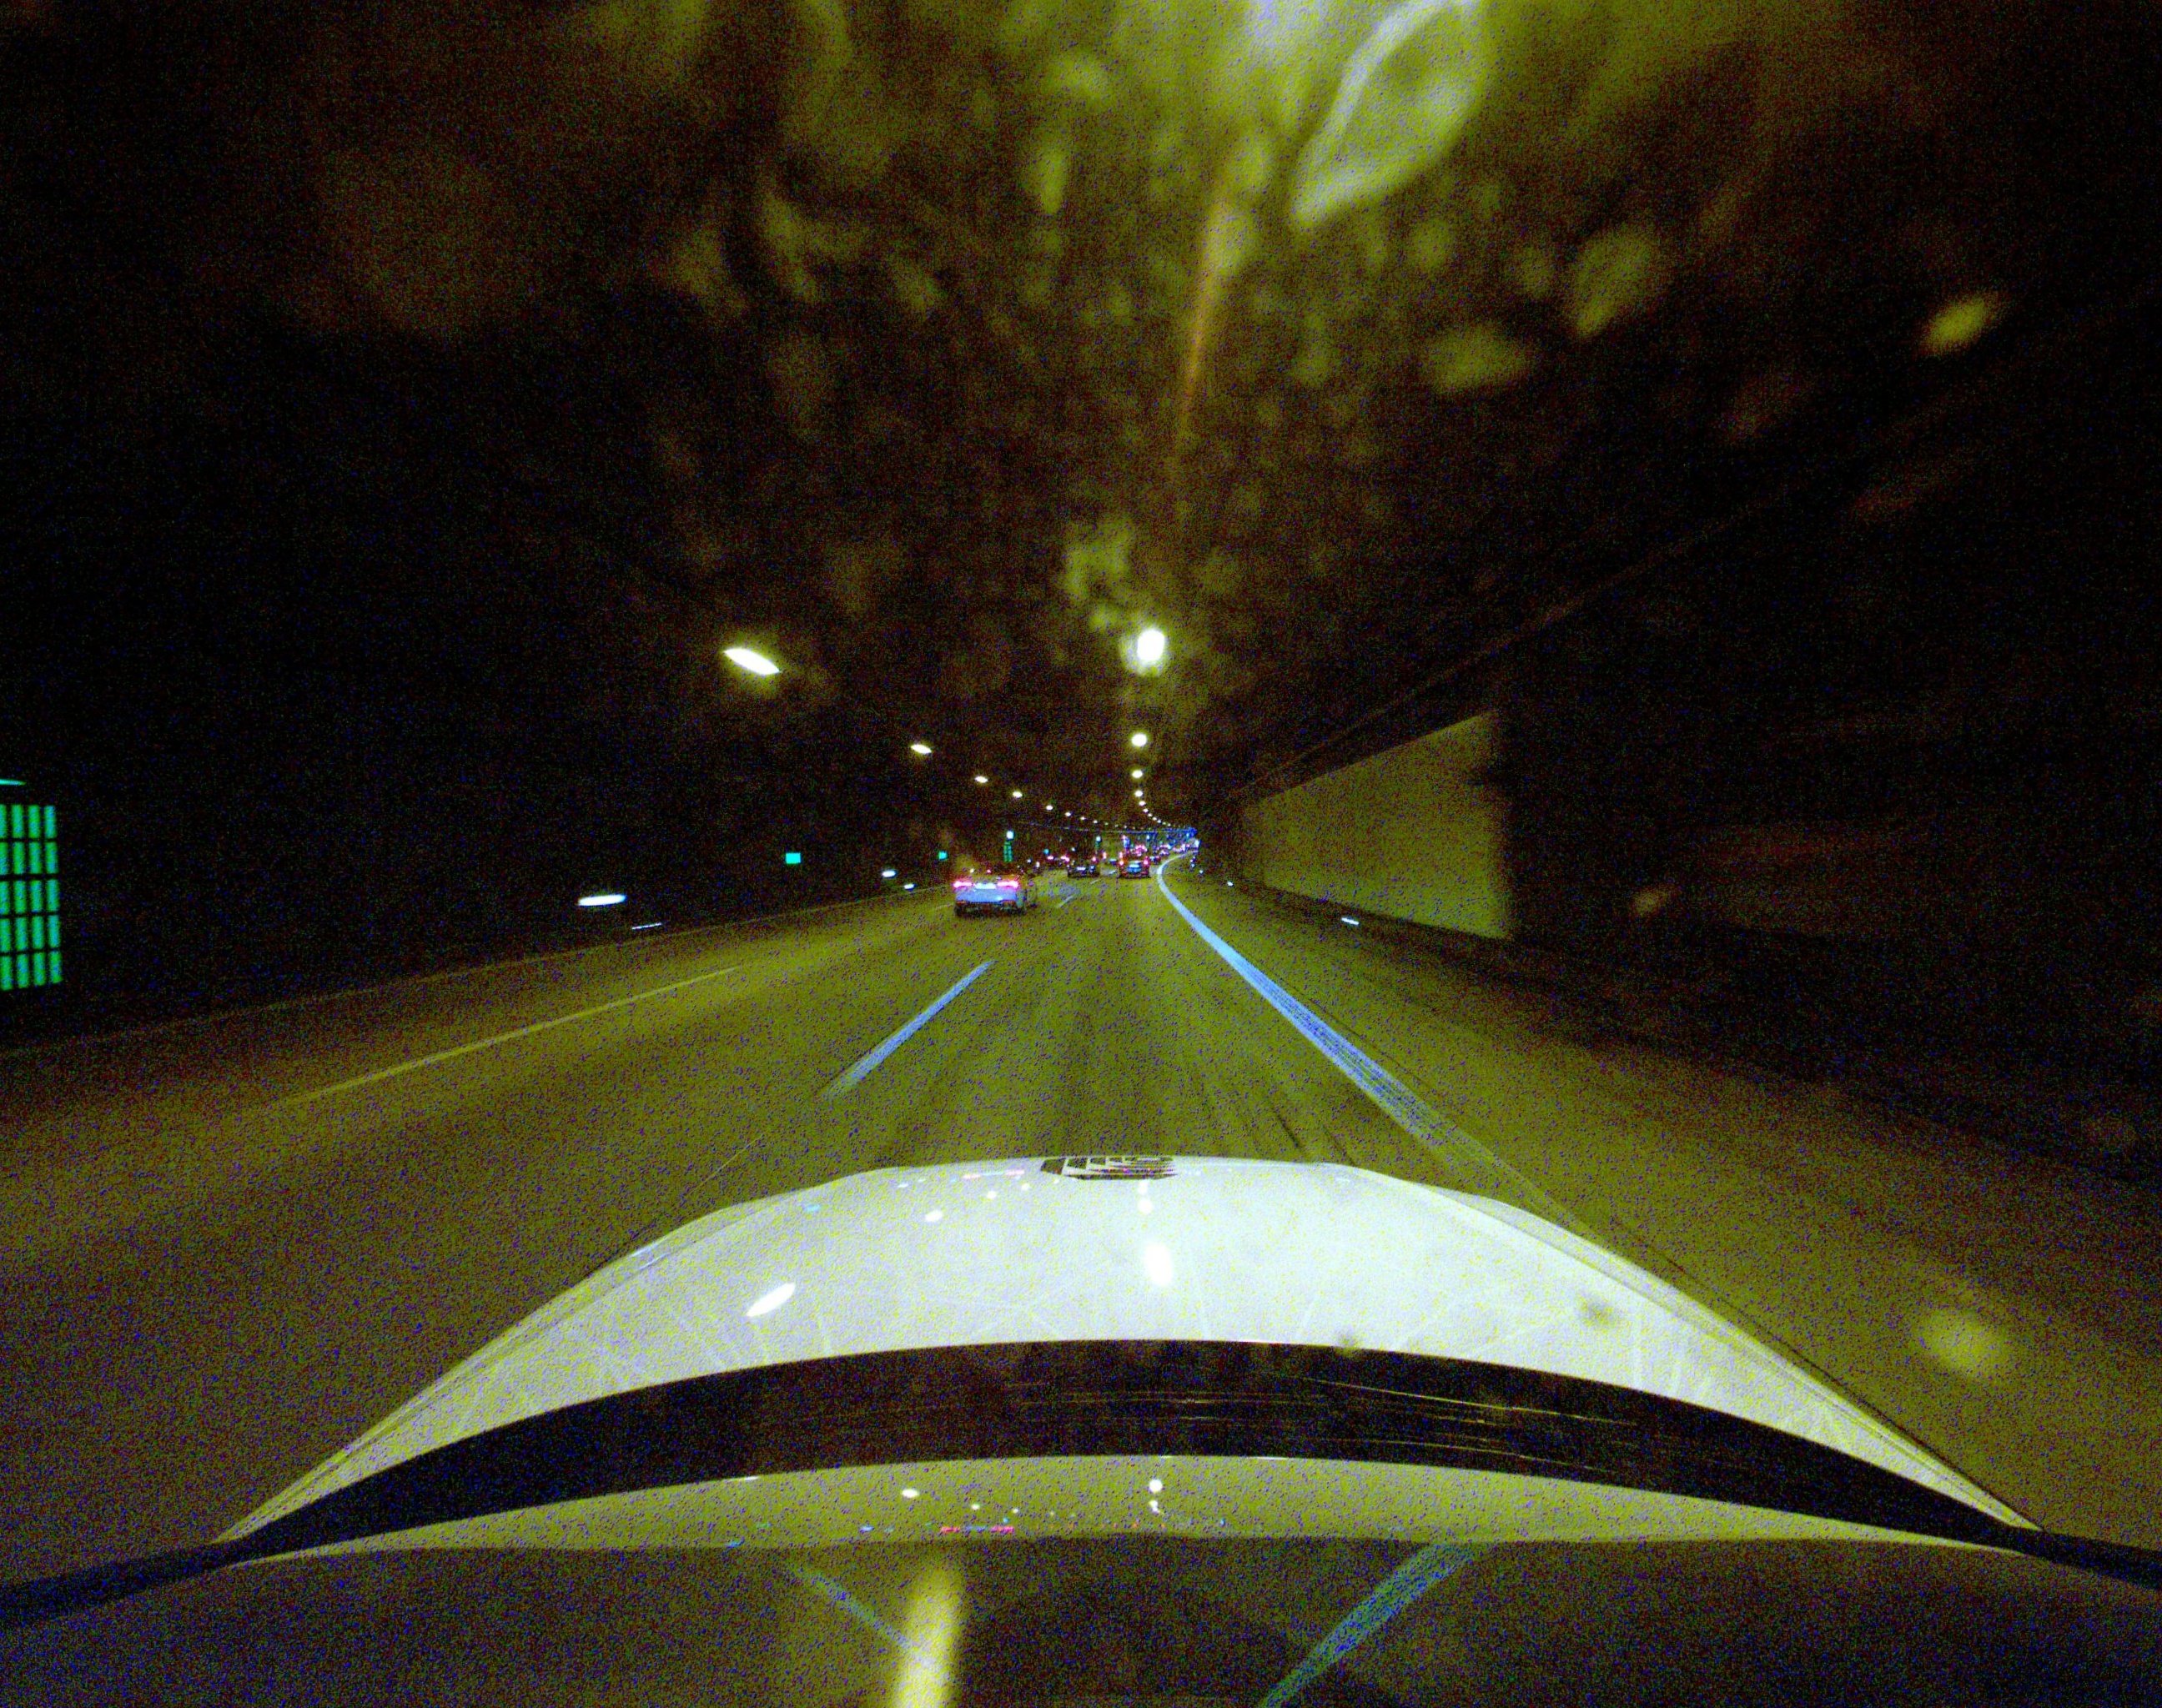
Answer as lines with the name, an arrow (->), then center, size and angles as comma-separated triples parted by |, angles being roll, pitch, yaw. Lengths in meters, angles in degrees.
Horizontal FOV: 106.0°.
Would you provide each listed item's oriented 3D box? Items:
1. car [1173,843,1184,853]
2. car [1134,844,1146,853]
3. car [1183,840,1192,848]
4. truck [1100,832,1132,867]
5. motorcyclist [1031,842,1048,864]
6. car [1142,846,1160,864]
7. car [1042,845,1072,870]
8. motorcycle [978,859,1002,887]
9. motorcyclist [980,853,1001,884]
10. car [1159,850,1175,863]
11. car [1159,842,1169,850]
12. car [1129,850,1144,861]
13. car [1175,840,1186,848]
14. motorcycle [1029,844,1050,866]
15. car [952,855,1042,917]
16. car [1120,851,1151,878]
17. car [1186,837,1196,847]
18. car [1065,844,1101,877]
car -> 18.138, -1.102, 151.971 | 1.921, 1.643, 4.006 | -1, -1, 6
car -> 11.245, -1.057, 155.189 | 1.920, 1.642, 4.008 | -1, 0, 7
car -> 26.041, -2.455, 199.305 | 1.982, 2.014, 4.010 | -1, -1, 9
truck -> 3.873, -0.473, 88.990 | 3.024, 3.673, 7.403 | -1, 0, 5
motorcyclist -> -2.820, -0.055, 55.378 | 0.802, 1.448, 1.869 | -1, -2, 7
car -> 7.436, 0.107, 86.639 | 1.849, 1.854, 4.005 | -1, 0, 4
car -> -2.016, 0.318, 69.714 | 1.984, 2.013, 4.006 | -1, 0, 5
motorcycle -> -4.378, 0.921, 39.421 | 0.679, 1.297, 2.402 | -1, -1, 5
motorcyclist -> -4.375, 0.691, 39.443 | 0.774, 1.452, 1.070 | -1, -1, 4
car -> 11.953, 0.320, 113.513 | 1.942, 1.772, 4.002 | -1, -1, 2
car -> 18.992, -1.876, 186.348 | 1.917, 1.643, 4.013 | -1, -1, 12
car -> 8.414, 0.165, 122.845 | 1.982, 1.631, 4.010 | -1, 0, 8
car -> 22.556, -2.266, 184.610 | 1.980, 1.632, 4.013 | -1, -1, 12
motorcycle -> -2.815, 0.110, 55.407 | 0.921, 1.434, 2.970 | 0, -1, 8
car -> -2.175, 0.791, 22.434 | 1.695, 1.419, 5.064 | -1, 1, 3
car -> 3.324, 0.605, 49.247 | 1.733, 1.464, 3.878 | -1, 1, 6
car -> 24.343, -2.589, 180.372 | 1.981, 2.014, 4.011 | -1, -1, 10
car -> 0.179, 0.404, 52.205 | 1.900, 1.944, 3.877 | -1, 1, 5
